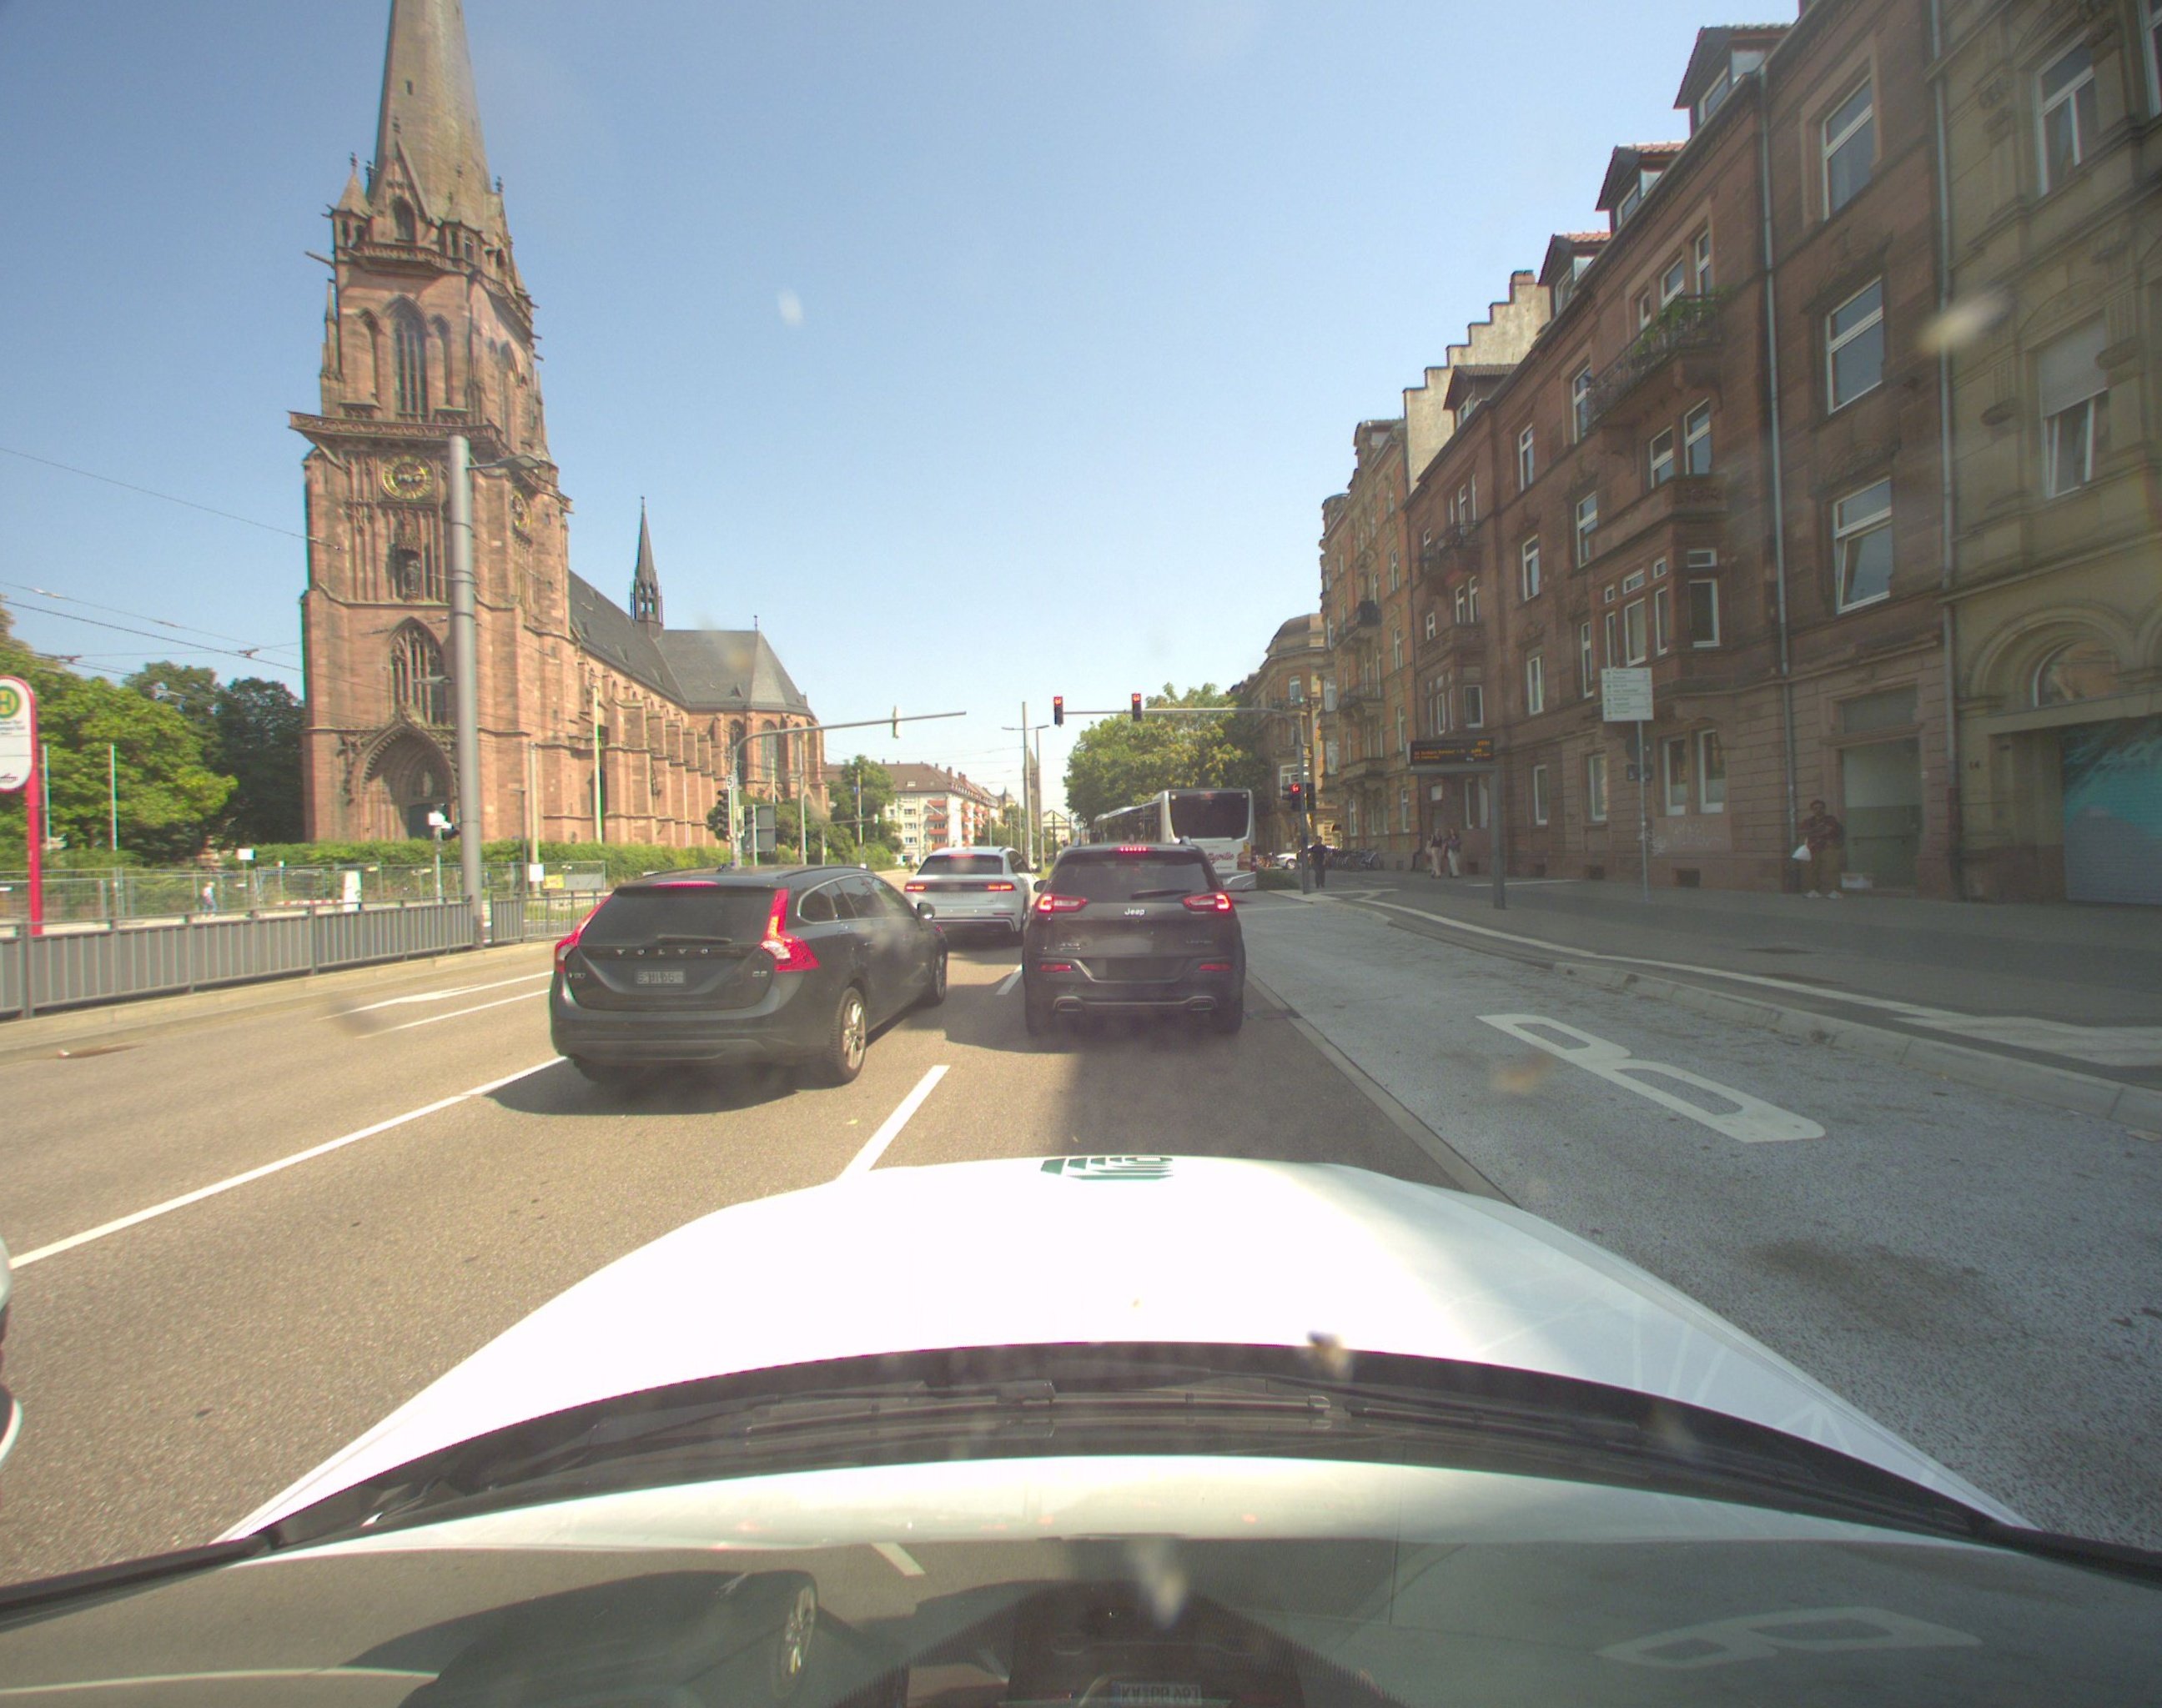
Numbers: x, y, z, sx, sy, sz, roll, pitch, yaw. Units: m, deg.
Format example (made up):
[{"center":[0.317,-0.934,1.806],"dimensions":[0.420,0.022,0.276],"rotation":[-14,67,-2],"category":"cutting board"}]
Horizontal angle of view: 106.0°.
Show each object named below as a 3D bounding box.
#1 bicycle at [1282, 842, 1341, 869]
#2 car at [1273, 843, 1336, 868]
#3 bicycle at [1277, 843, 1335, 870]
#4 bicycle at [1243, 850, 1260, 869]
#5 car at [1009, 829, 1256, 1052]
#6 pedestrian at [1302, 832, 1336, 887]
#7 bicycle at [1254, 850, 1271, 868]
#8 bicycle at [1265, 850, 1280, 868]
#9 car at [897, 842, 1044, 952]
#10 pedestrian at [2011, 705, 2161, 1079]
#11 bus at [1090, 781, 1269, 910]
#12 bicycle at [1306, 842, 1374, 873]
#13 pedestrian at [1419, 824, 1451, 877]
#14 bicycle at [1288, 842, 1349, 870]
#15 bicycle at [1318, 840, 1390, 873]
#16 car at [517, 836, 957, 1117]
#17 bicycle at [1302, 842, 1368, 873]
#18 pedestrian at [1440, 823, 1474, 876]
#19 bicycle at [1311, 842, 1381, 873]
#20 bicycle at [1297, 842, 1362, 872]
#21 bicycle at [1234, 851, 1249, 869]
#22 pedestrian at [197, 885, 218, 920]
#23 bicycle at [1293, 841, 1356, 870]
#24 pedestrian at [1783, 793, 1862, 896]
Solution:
[{"center":[12.724,0.094,44.993],"dimensions":[2.993,1.373,0.948],"rotation":[-2,0,1],"category":"bicycle"},{"center":[15.682,0.101,57.277],"dimensions":[3.926,1.521,1.679],"rotation":[-2,0,-6],"category":"car"},{"center":[12.719,0.126,46.035],"dimensions":[2.993,1.373,0.948],"rotation":[-2,0,1],"category":"bicycle"},{"center":[12.189,0.392,58.329],"dimensions":[0.729,1.253,3.017],"rotation":[-2,0,4],"category":"bicycle"},{"center":[0.495,0.641,8.240],"dimensions":[1.825,1.651,4.312],"rotation":[-1,0,3],"category":"car"},{"center":[7.960,0.181,27.247],"dimensions":[0.893,1.741,0.770],"rotation":[-4,-1,8],"category":"pedestrian"},{"center":[12.975,0.359,58.325],"dimensions":[0.759,1.253,3.017],"rotation":[-2,0,4],"category":"bicycle"},{"center":[13.790,0.326,58.739],"dimensions":[0.655,1.249,2.415],"rotation":[-2,0,4],"category":"bicycle"},{"center":[-1.798,0.651,14.698],"dimensions":[1.895,1.651,4.310],"rotation":[-1,0,2],"category":"car"},{"center":[5.508,0.169,3.784],"dimensions":[0.958,1.741,1.242],"rotation":[-2,0,9],"category":"pedestrian"},{"center":[2.618,-0.134,26.799],"dimensions":[2.742,3.107,11.922],"rotation":[-5,0,-8],"category":"bus"},{"center":[12.593,0.178,39.678],"dimensions":[2.983,1.371,0.871],"rotation":[-2,0,1],"category":"bicycle"},{"center":[12.269,-0.109,28.236],"dimensions":[0.711,1.776,0.848],"rotation":[-2,0,1],"category":"pedestrian"},{"center":[12.719,0.124,43.675],"dimensions":[2.993,1.373,0.948],"rotation":[-2,0,1],"category":"bicycle"},{"center":[12.663,0.116,37.856],"dimensions":[2.983,1.371,0.871],"rotation":[-2,0,1],"category":"bicycle"},{"center":[-2.337,0.708,6.895],"dimensions":[1.741,1.614,4.310],"rotation":[-1,0,2],"category":"car"},{"center":[12.648,0.173,40.625],"dimensions":[2.983,1.371,0.871],"rotation":[-2,0,1],"category":"bicycle"},{"center":[12.993,-0.139,28.170],"dimensions":[0.712,1.778,0.870],"rotation":[-2,0,0],"category":"pedestrian"},{"center":[12.602,0.161,38.764],"dimensions":[2.983,1.371,0.871],"rotation":[-2,0,1],"category":"bicycle"},{"center":[12.677,0.135,41.569],"dimensions":[2.993,1.373,0.948],"rotation":[-2,0,1],"category":"bicycle"},{"center":[11.492,0.418,58.347],"dimensions":[0.646,1.253,3.017],"rotation":[-2,0,4],"category":"bicycle"},{"center":[-38.791,2.137,36.156],"dimensions":[0.430,1.531,0.548],"rotation":[-3,0,36],"category":"pedestrian"},{"center":[12.724,0.089,42.663],"dimensions":[2.993,1.373,0.948],"rotation":[-2,0,1],"category":"bicycle"},{"center":[13.261,-0.177,14.570],"dimensions":[0.872,1.778,0.737],"rotation":[-2,0,-26],"category":"pedestrian"}]
